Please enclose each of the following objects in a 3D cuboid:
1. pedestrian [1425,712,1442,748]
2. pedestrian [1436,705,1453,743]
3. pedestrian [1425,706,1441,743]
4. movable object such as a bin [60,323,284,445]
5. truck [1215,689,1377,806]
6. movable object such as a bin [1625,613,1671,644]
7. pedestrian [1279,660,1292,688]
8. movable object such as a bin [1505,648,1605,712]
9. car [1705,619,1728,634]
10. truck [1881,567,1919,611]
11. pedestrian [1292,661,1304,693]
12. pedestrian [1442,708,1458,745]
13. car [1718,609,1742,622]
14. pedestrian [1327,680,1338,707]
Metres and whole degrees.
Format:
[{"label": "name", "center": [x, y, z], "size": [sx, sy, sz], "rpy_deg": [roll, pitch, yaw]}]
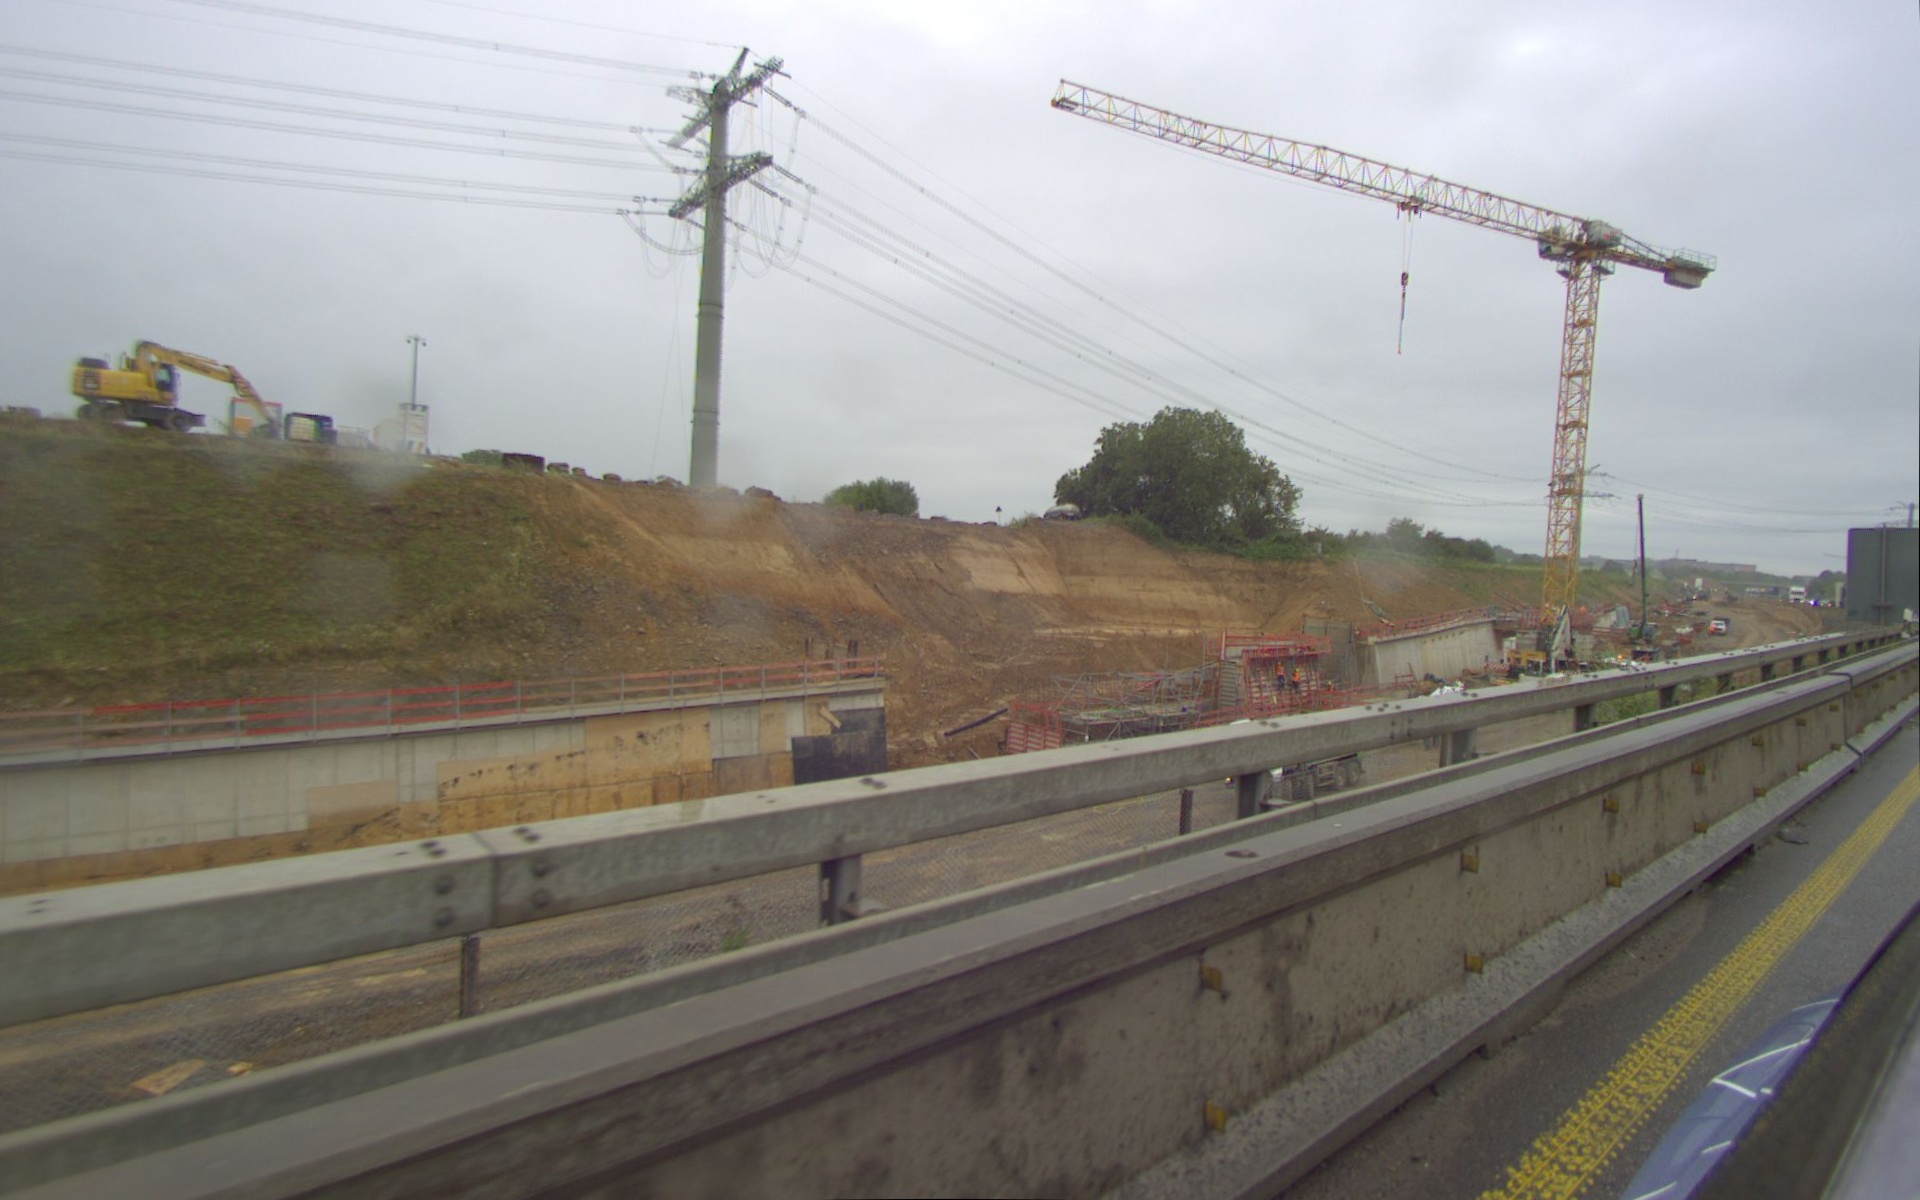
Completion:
[{"label": "pedestrian", "center": [25.625, 7.034, 54.787], "size": [0.474, 1.790, 0.602], "rpy_deg": [-1, 5, -45]}, {"label": "pedestrian", "center": [26.466, 6.776, 55.301], "size": [0.604, 1.928, 0.602], "rpy_deg": [-1, 3, -45]}, {"label": "pedestrian", "center": [26.572, 7.006, 56.892], "size": [0.474, 1.928, 0.602], "rpy_deg": [-1, 4, -45]}, {"label": "movable object such as a bin", "center": [-36.473, -9.862, 47.241], "size": [8.027, 4.258, 3.108], "rpy_deg": [0, 2, -38]}, {"label": "truck", "center": [15.096, 6.332, 44.965], "size": [8.919, 3.655, 2.708], "rpy_deg": [-2, 4, -42]}, {"label": "movable object such as a bin", "center": [79.505, 3.254, 116.881], "size": [3.497, 2.915, 3.936], "rpy_deg": [9, 7, 44]}, {"label": "pedestrian", "center": [21.686, 4.911, 67.448], "size": [0.571, 1.827, 0.490], "rpy_deg": [-3, -3, -5]}, {"label": "movable object such as a bin", "center": [39.621, 5.201, 67.368], "size": [6.530, 3.466, 3.519], "rpy_deg": [-2, 2, -36]}, {"label": "car", "center": [95.135, 3.342, 127.236], "size": [1.855, 1.638, 4.016], "rpy_deg": [3, 3, 43]}, {"label": "truck", "center": [99.870, -1.153, 105.605], "size": [4.297, 4.399, 13.227], "rpy_deg": [0, 0, 37]}, {"label": "pedestrian", "center": [22.874, 5.211, 68.517], "size": [0.474, 2.127, 0.488], "rpy_deg": [-1, -4, -45]}, {"label": "pedestrian", "center": [27.050, 6.964, 55.829], "size": [0.474, 1.928, 0.602], "rpy_deg": [-1, 3, -45]}, {"label": "car", "center": [113.411, 2.221, 149.024], "size": [2.345, 1.638, 4.784], "rpy_deg": [3, 3, 43]}, {"label": "pedestrian", "center": [26.104, 6.568, 70.912], "size": [0.488, 1.781, 0.474], "rpy_deg": [4, 3, 45]}]
